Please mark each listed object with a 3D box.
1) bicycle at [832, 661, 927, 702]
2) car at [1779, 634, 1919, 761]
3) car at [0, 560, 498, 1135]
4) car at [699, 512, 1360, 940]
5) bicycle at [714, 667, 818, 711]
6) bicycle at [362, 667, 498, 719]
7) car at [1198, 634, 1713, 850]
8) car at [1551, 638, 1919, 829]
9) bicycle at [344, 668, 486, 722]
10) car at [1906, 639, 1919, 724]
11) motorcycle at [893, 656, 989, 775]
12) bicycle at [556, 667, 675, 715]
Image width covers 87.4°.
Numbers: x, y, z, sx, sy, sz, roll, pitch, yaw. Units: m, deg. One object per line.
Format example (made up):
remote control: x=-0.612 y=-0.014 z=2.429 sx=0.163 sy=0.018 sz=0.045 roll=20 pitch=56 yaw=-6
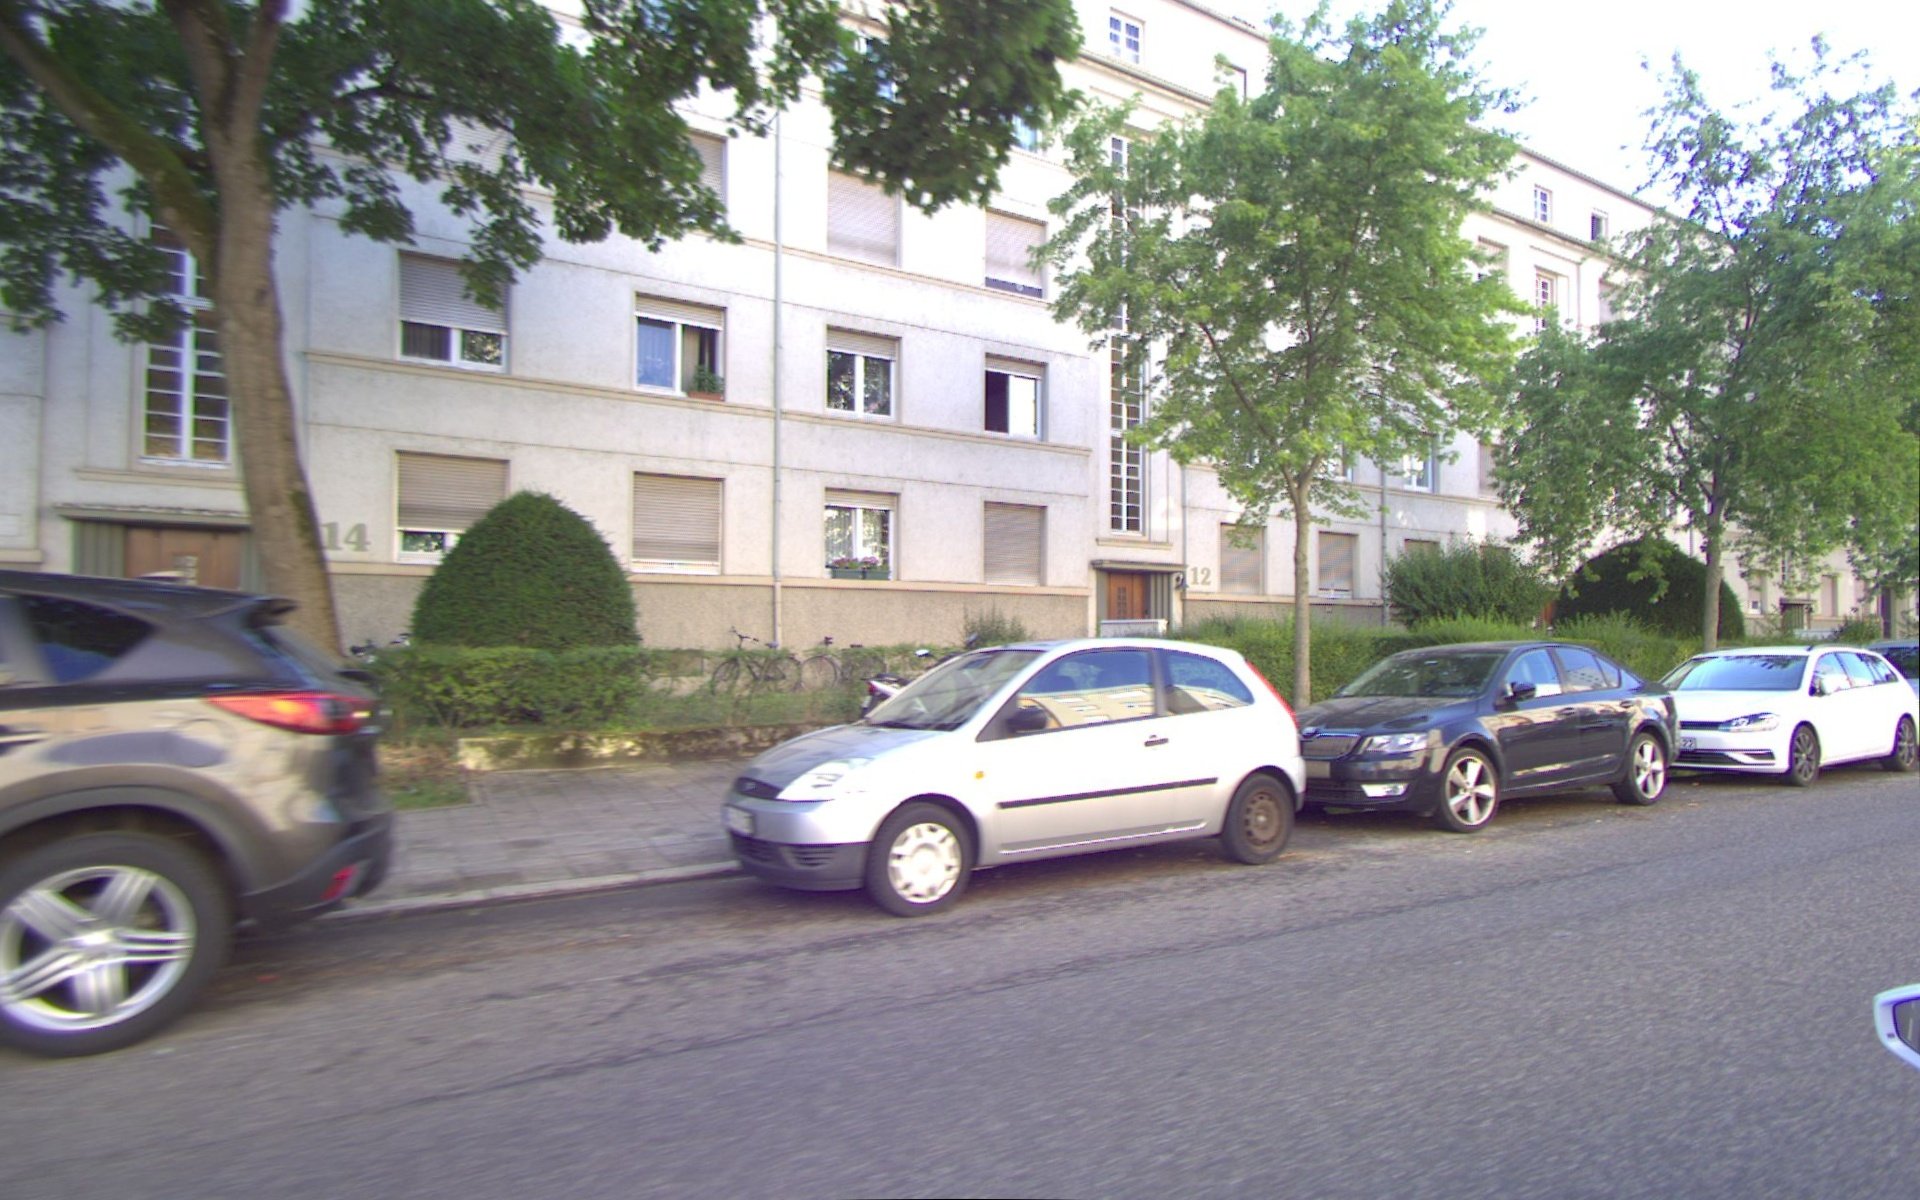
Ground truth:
bicycle: x=-1.494 y=1.516 z=18.814 sx=1.768 sy=0.718 sz=0.406 roll=2 pitch=-1 yaw=-32
car: x=13.615 y=1.327 z=14.311 sx=3.956 sy=1.572 sz=1.863 roll=2 pitch=-1 yaw=-32
car: x=-4.252 y=0.779 z=3.436 sx=4.639 sy=1.782 sz=1.863 roll=2 pitch=-4 yaw=-33
car: x=0.503 y=0.730 z=6.693 sx=3.953 sy=2.039 sz=1.985 roll=2 pitch=-5 yaw=-30
bicycle: x=-3.395 y=1.555 z=17.653 sx=1.768 sy=0.718 sz=0.406 roll=2 pitch=-1 yaw=-32
bicycle: x=-7.972 y=1.386 z=15.144 sx=1.768 sy=0.718 sz=0.406 roll=2 pitch=-1 yaw=-32
car: x=4.504 y=1.115 z=8.899 sx=4.751 sy=1.452 sz=1.864 roll=2 pitch=-6 yaw=-32
car: x=9.153 y=1.367 z=11.672 sx=4.416 sy=1.573 sz=1.996 roll=-2 pitch=1 yaw=-29
bicycle: x=-7.839 y=1.356 z=14.496 sx=1.768 sy=0.718 sz=0.406 roll=2 pitch=-1 yaw=-32
car: x=17.717 y=1.397 z=16.779 sx=3.956 sy=1.373 sz=1.863 roll=2 pitch=-1 yaw=-32
motorcycle: x=-0.188 y=1.246 z=11.237 sx=0.565 sy=1.194 sz=1.263 roll=1 pitch=-1 yaw=24
bicycle: x=-5.582 y=1.467 z=16.325 sx=1.768 sy=0.718 sz=0.406 roll=2 pitch=-1 yaw=-32
